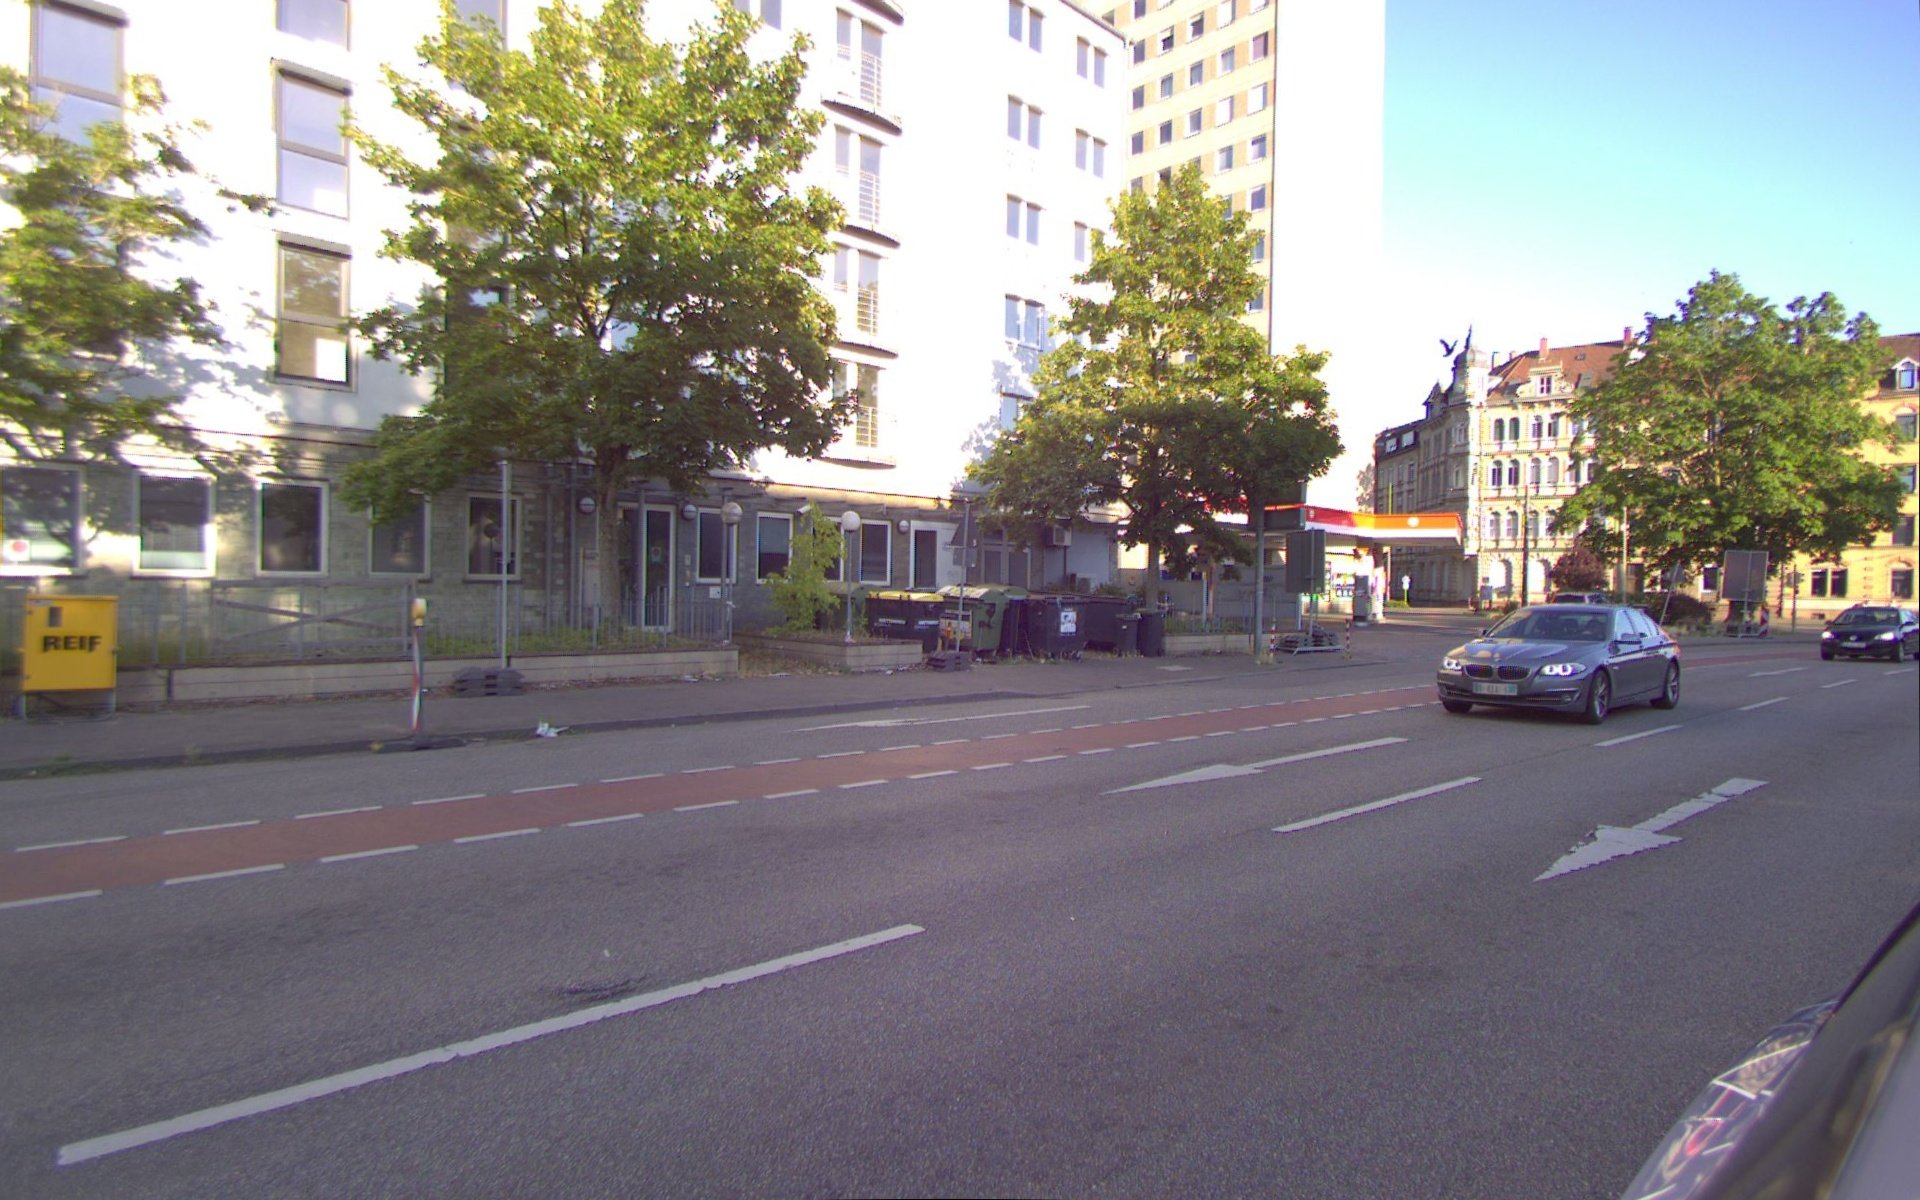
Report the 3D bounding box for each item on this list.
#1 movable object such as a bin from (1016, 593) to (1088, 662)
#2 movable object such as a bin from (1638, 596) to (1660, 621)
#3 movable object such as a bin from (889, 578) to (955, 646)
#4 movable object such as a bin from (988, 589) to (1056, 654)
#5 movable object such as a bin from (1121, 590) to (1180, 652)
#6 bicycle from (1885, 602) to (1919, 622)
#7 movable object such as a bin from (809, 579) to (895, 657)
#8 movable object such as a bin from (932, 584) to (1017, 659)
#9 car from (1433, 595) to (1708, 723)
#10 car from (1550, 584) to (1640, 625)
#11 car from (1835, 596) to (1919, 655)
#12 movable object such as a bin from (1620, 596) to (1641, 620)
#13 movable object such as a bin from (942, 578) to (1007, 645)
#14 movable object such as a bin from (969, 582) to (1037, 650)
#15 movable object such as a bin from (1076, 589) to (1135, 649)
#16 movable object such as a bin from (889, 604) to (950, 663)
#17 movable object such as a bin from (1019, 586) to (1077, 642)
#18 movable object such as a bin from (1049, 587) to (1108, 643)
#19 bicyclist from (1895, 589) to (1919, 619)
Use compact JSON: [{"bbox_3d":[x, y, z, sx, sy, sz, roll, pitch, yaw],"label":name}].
[{"bbox_3d":[1.891,0.542,20.879,1.143,1.345,0.954,0,1,-44],"label":"movable object such as a bin"},{"bbox_3d":[29.208,0.346,42.912,0.675,1.031,0.544,0,1,-36],"label":"movable object such as a bin"},{"bbox_3d":[-0.879,0.255,23.443,1.143,1.517,1.033,0,1,-44],"label":"movable object such as a bin"},{"bbox_3d":[1.344,0.440,21.883,1.143,1.345,0.954,0,1,-44],"label":"movable object such as a bin"},{"bbox_3d":[4.325,0.459,22.995,0.938,1.345,0.954,0,1,-43],"label":"movable object such as a bin"},{"bbox_3d":[53.578,0.685,57.157,1.920,1.072,0.444,2,1,43],"label":"bicycle"},{"bbox_3d":[-2.161,0.335,20.224,1.088,1.479,1.348,0,1,-45],"label":"movable object such as a bin"},{"bbox_3d":[0.294,0.413,20.639,1.088,1.441,1.348,0,1,-45],"label":"movable object such as a bin"},{"bbox_3d":[8.432,0.668,13.810,4.583,1.467,1.819,0,0,-40],"label":"car"},{"bbox_3d":[25.556,0.142,40.720,3.723,1.535,1.691,-1,2,-34],"label":"car"},{"bbox_3d":[25.074,0.637,27.404,3.804,1.467,1.583,0,0,-41],"label":"car"},{"bbox_3d":[28.894,0.333,43.598,0.675,1.031,0.544,0,1,-36],"label":"movable object such as a bin"},{"bbox_3d":[0.338,0.254,24.006,1.143,1.517,1.033,0,1,-44],"label":"movable object such as a bin"},{"bbox_3d":[0.986,0.339,23.013,1.143,1.467,1.033,0,1,-44],"label":"movable object such as a bin"},{"bbox_3d":[3.369,0.419,23.426,0.938,1.345,0.954,0,1,-43],"label":"movable object such as a bin"},{"bbox_3d":[-0.774,0.620,19.292,0.851,1.058,0.806,2,1,45],"label":"movable object such as a bin"},{"bbox_3d":[2.186,0.323,25.166,1.080,1.345,0.954,0,1,-44],"label":"movable object such as a bin"},{"bbox_3d":[2.866,0.351,24.437,1.080,1.299,0.954,0,1,-44],"label":"movable object such as a bin"},{"bbox_3d":[53.617,0.221,57.227,1.062,1.670,0.721,2,1,43],"label":"bicyclist"}]
